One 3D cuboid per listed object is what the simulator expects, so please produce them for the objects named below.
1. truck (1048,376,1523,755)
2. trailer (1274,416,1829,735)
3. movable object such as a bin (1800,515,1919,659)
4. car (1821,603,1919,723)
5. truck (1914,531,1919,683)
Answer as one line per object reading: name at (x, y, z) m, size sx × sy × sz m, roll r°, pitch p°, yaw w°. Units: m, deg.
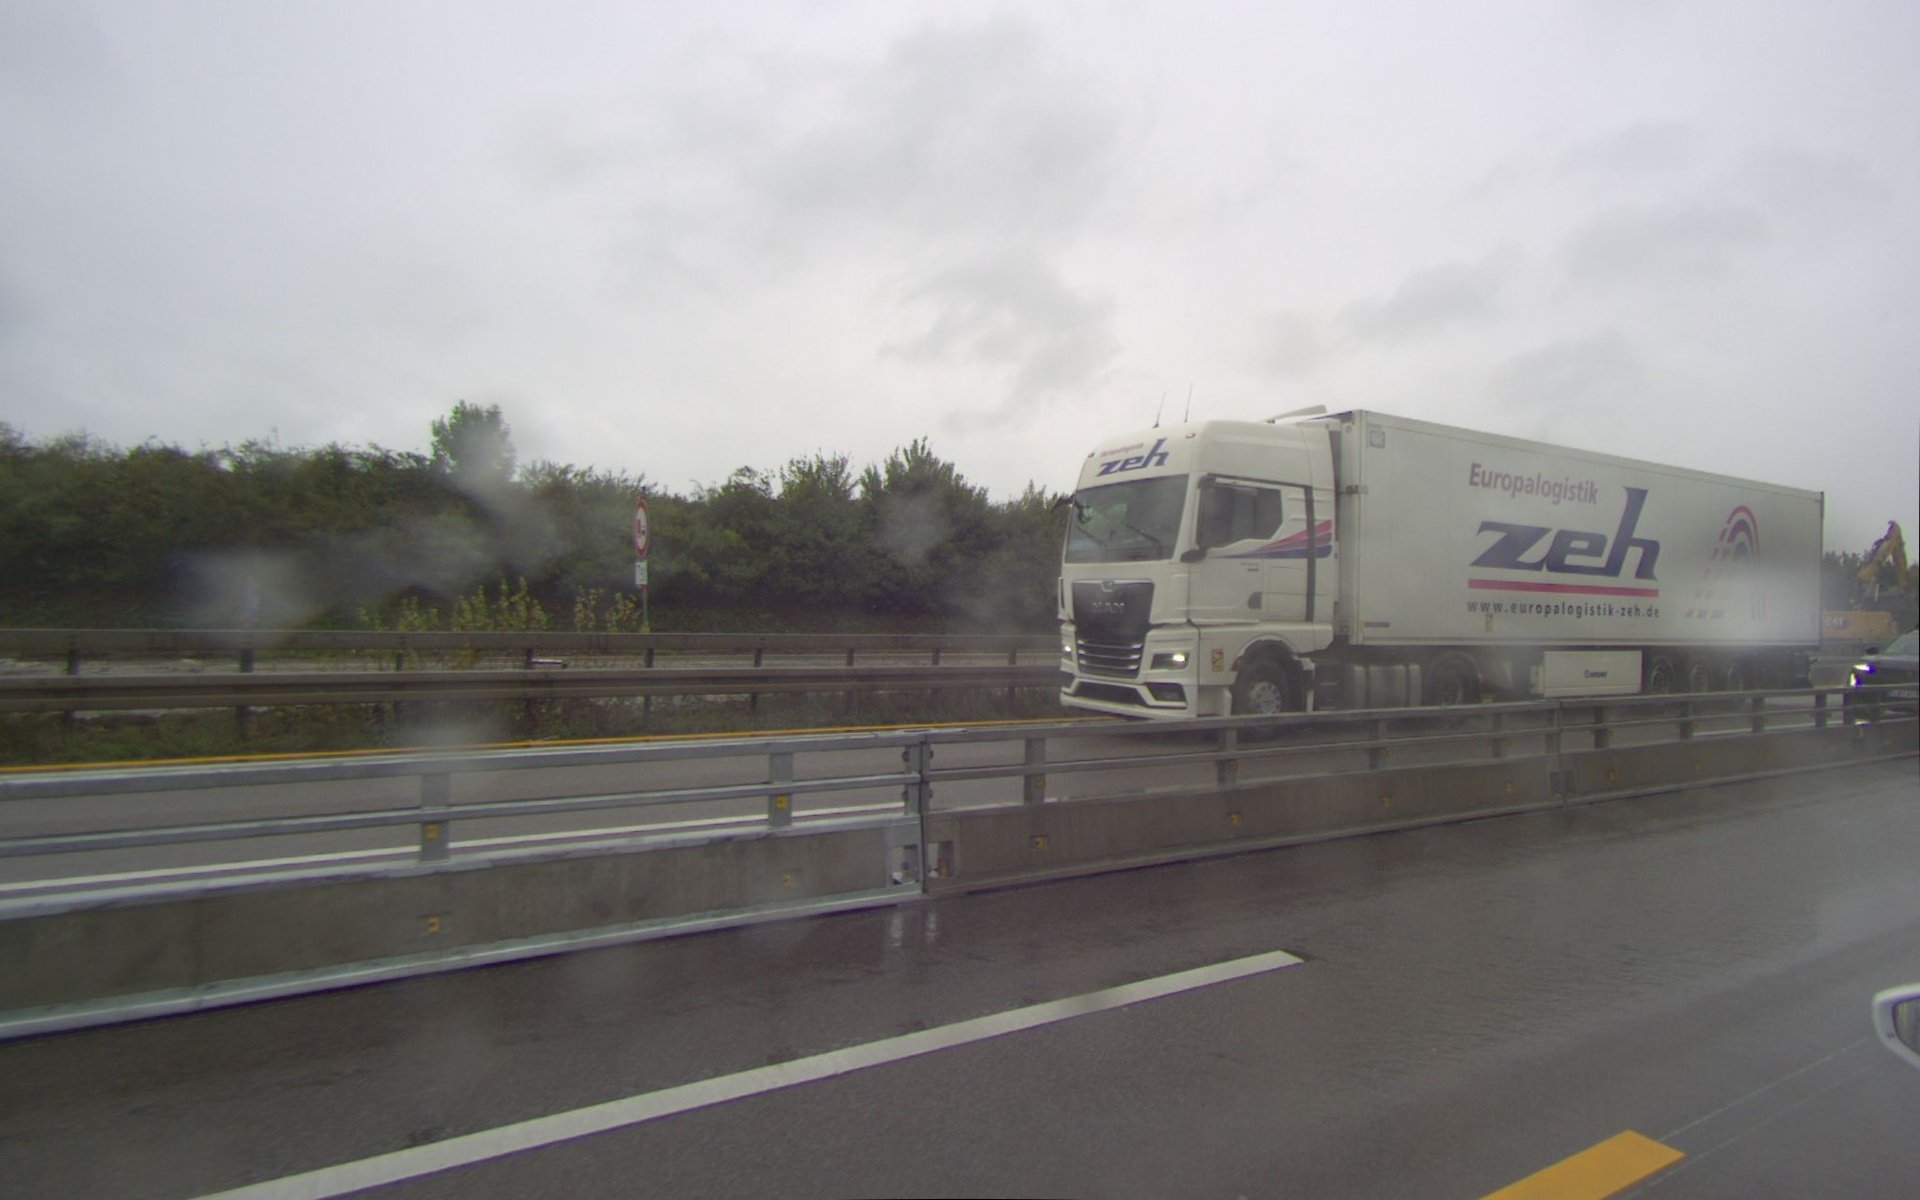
truck at (4.495, -0.318, 13.497) m, size 6.371 × 4.084 × 2.472 m, roll 1°, pitch -1°, yaw -30°
trailer at (10.683, -0.222, 17.167) m, size 12.439 × 4.103 × 2.482 m, roll 1°, pitch -1°, yaw -31°
movable object such as a bin at (55.682, -0.676, 61.370) m, size 8.201 × 8.252 × 3.583 m, roll 2°, pitch 0°, yaw -27°
car at (16.956, 1.029, 17.256) m, size 4.380 × 1.909 × 1.984 m, roll 1°, pitch -1°, yaw -30°
truck at (29.847, 0.227, 28.055) m, size 6.844 × 4.156 × 2.870 m, roll 1°, pitch -1°, yaw -30°
